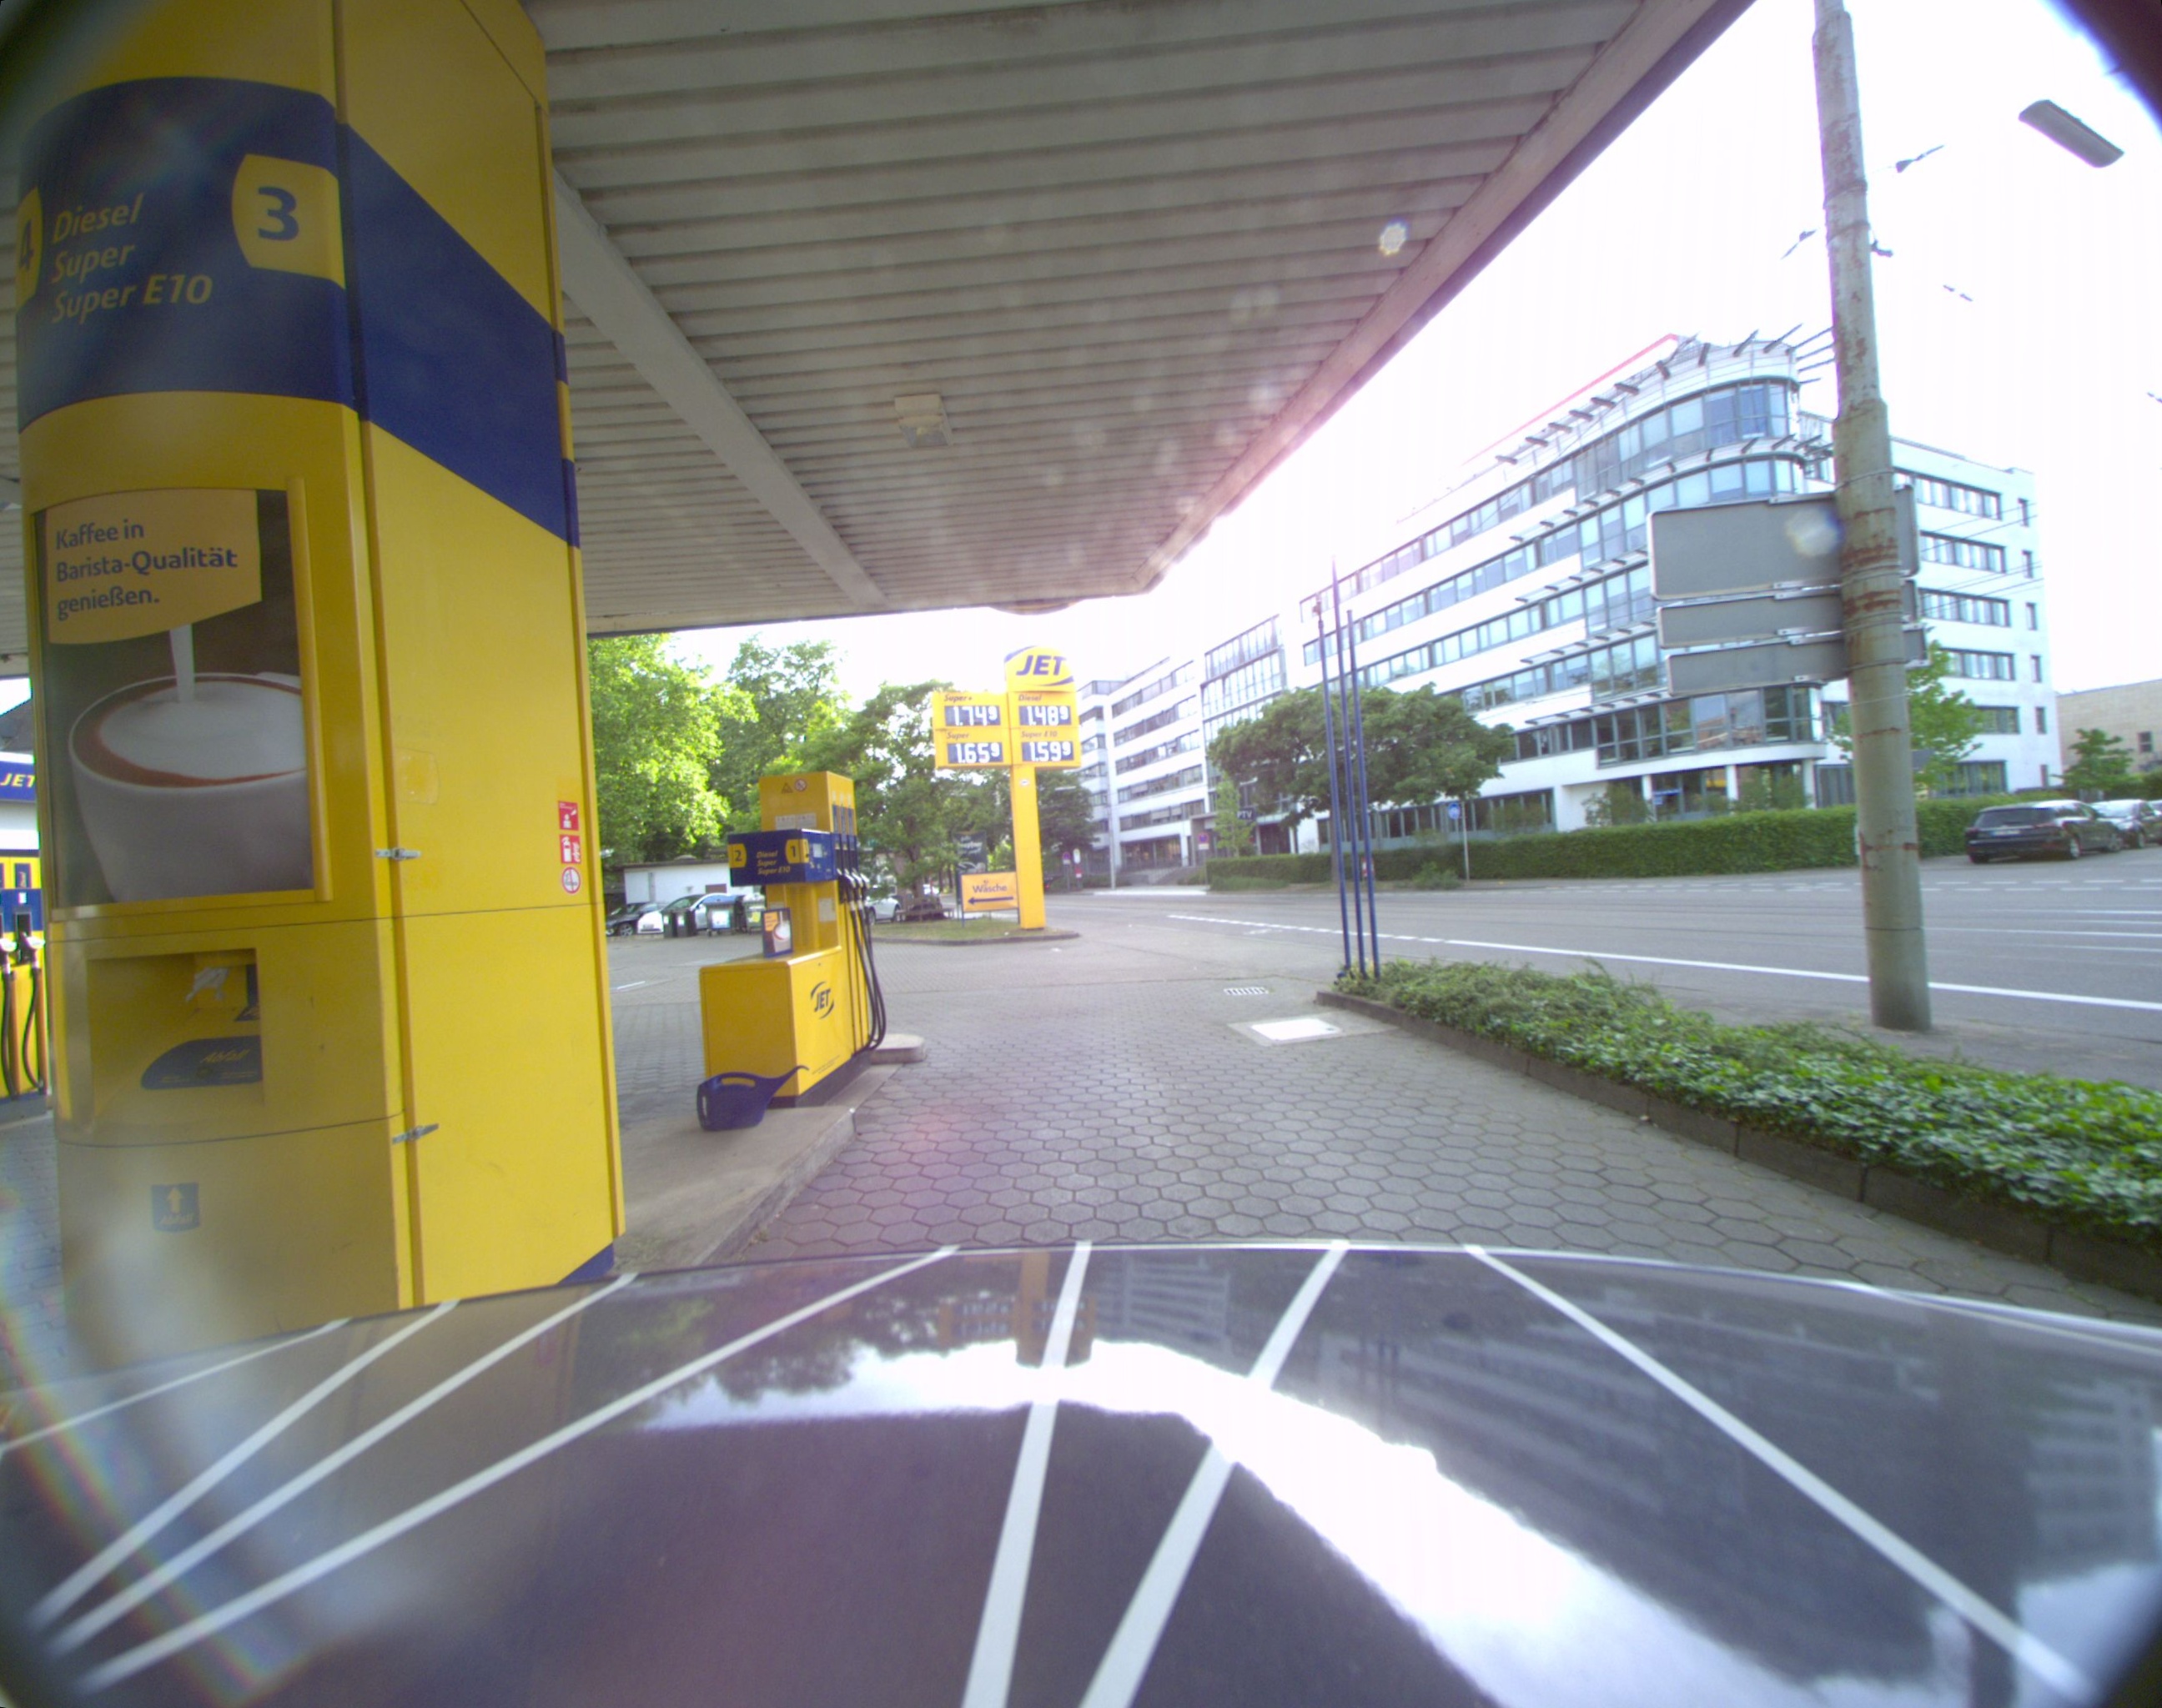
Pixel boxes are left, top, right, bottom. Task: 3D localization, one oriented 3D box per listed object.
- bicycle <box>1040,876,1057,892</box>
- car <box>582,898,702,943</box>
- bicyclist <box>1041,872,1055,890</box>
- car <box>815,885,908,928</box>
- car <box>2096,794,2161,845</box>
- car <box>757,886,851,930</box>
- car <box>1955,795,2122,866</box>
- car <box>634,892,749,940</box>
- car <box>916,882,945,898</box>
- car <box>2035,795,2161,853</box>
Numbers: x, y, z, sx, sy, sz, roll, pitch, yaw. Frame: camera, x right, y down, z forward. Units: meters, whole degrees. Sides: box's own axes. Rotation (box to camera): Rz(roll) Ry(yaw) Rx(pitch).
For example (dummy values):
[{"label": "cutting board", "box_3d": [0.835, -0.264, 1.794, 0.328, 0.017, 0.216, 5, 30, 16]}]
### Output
[{"label": "bicycle", "box_3d": [-2.805, 2.557, 64.981, 0.792, 1.232, 1.879, -2, 0, -22]}, {"label": "car", "box_3d": [-17.528, 2.626, 30.612, 1.823, 1.426, 4.200, -4, -2, 10]}, {"label": "bicyclist", "box_3d": [-2.862, 2.322, 65.071, 0.792, 1.443, 1.174, -3, 1, -22]}, {"label": "car", "box_3d": [-8.650, 2.042, 30.381, 1.823, 1.449, 4.200, -4, -2, 10]}, {"label": "car", "box_3d": [37.110, -1.260, 26.018, 4.201, 1.568, 1.820, -4, -1, -24]}, {"label": "car", "box_3d": [-11.740, 2.260, 32.469, 1.823, 1.575, 4.200, -4, -2, 10]}, {"label": "car", "box_3d": [27.423, -0.676, 21.759, 4.397, 1.678, 1.820, -4, -1, -24]}, {"label": "car", "box_3d": [-15.384, 2.407, 30.257, 1.823, 1.575, 4.200, -4, -2, 10]}, {"label": "car", "box_3d": [-15.838, 3.740, 79.843, 1.865, 1.500, 4.819, -5, 0, -23]}, {"label": "car", "box_3d": [32.582, -0.965, 24.070, 4.201, 1.568, 1.820, -4, -1, -24]}]
